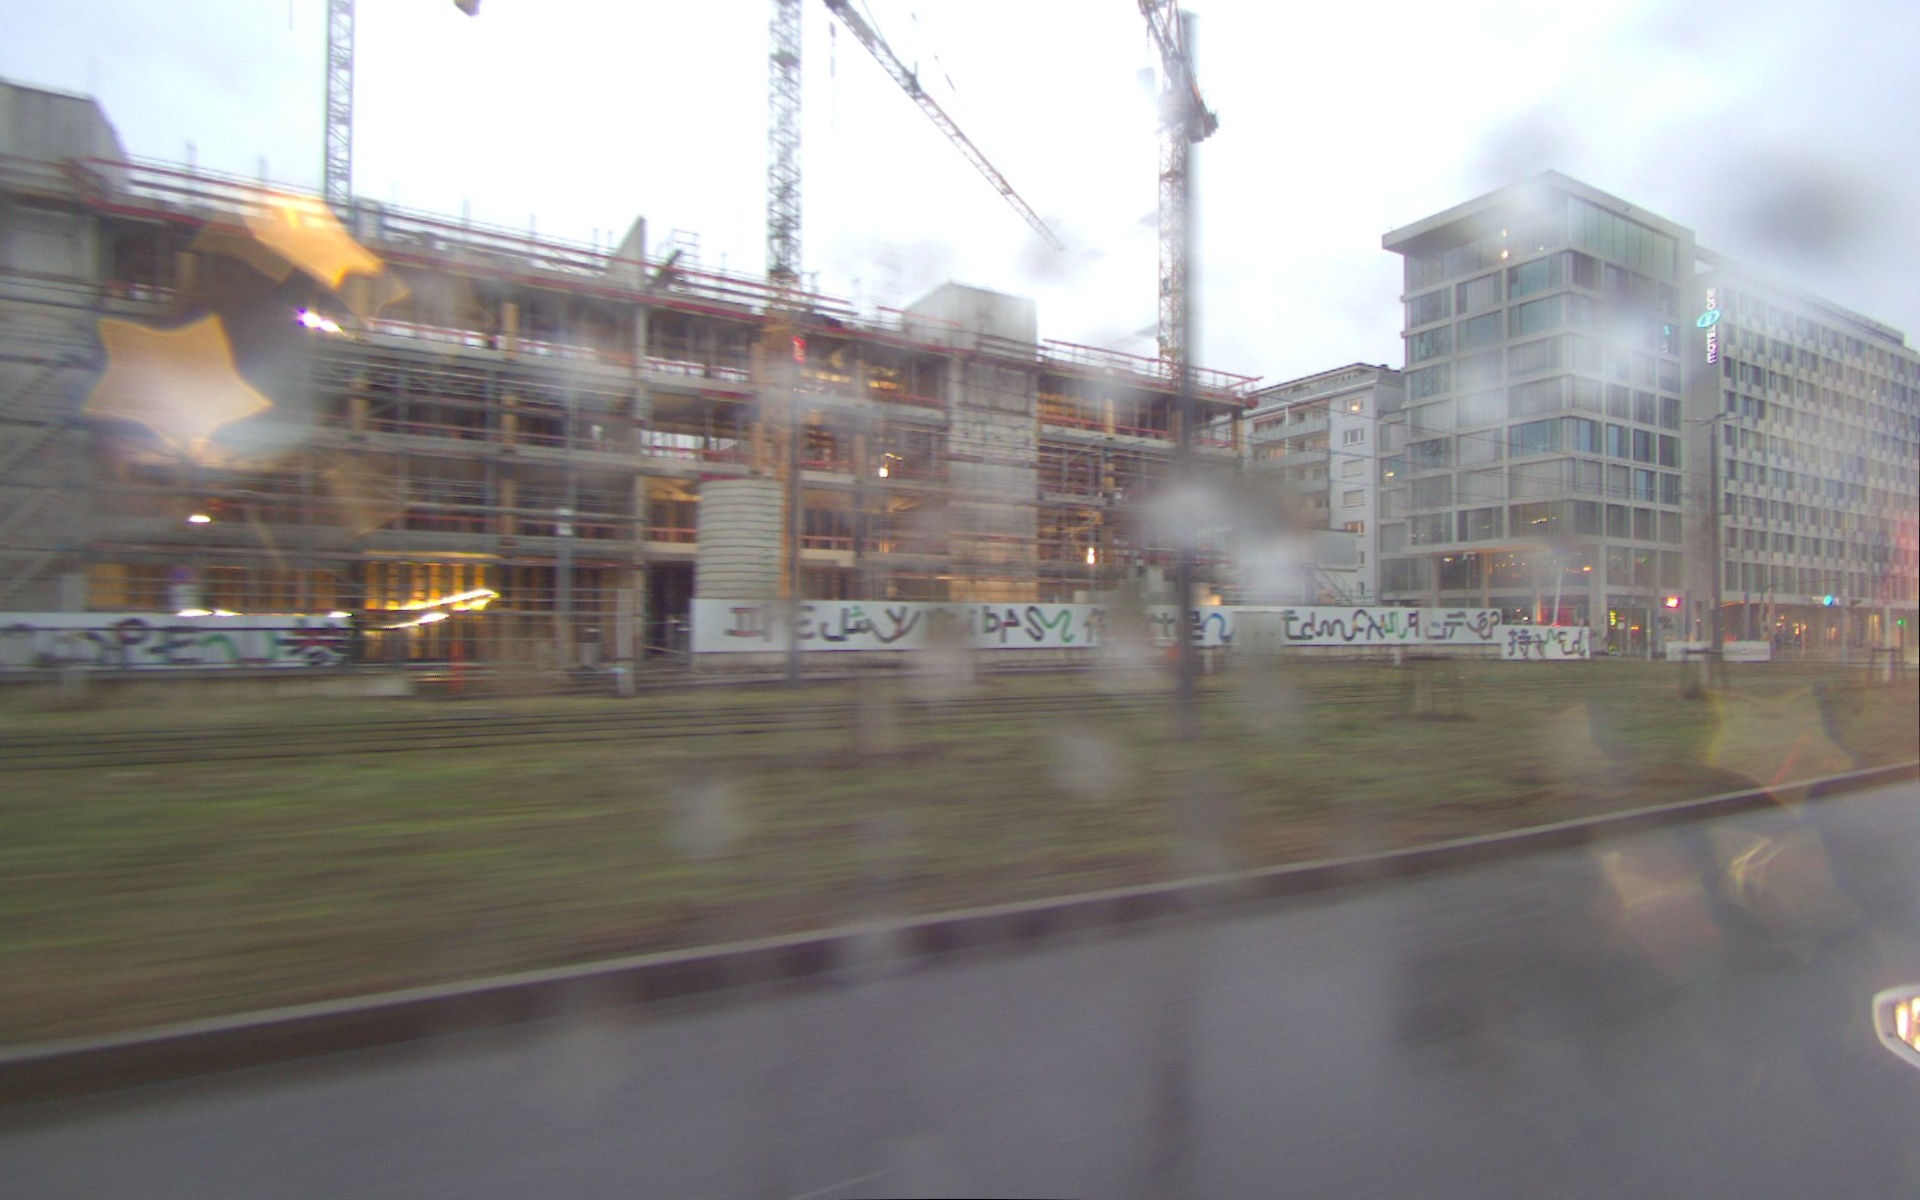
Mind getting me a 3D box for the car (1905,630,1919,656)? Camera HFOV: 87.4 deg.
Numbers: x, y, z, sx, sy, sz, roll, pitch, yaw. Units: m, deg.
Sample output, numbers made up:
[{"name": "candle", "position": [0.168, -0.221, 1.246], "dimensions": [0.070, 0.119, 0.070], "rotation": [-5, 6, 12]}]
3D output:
[{"name": "car", "position": [59.748, 2.663, 61.307], "dimensions": [1.710, 1.512, 3.543], "rotation": [1, 0, 19]}]
